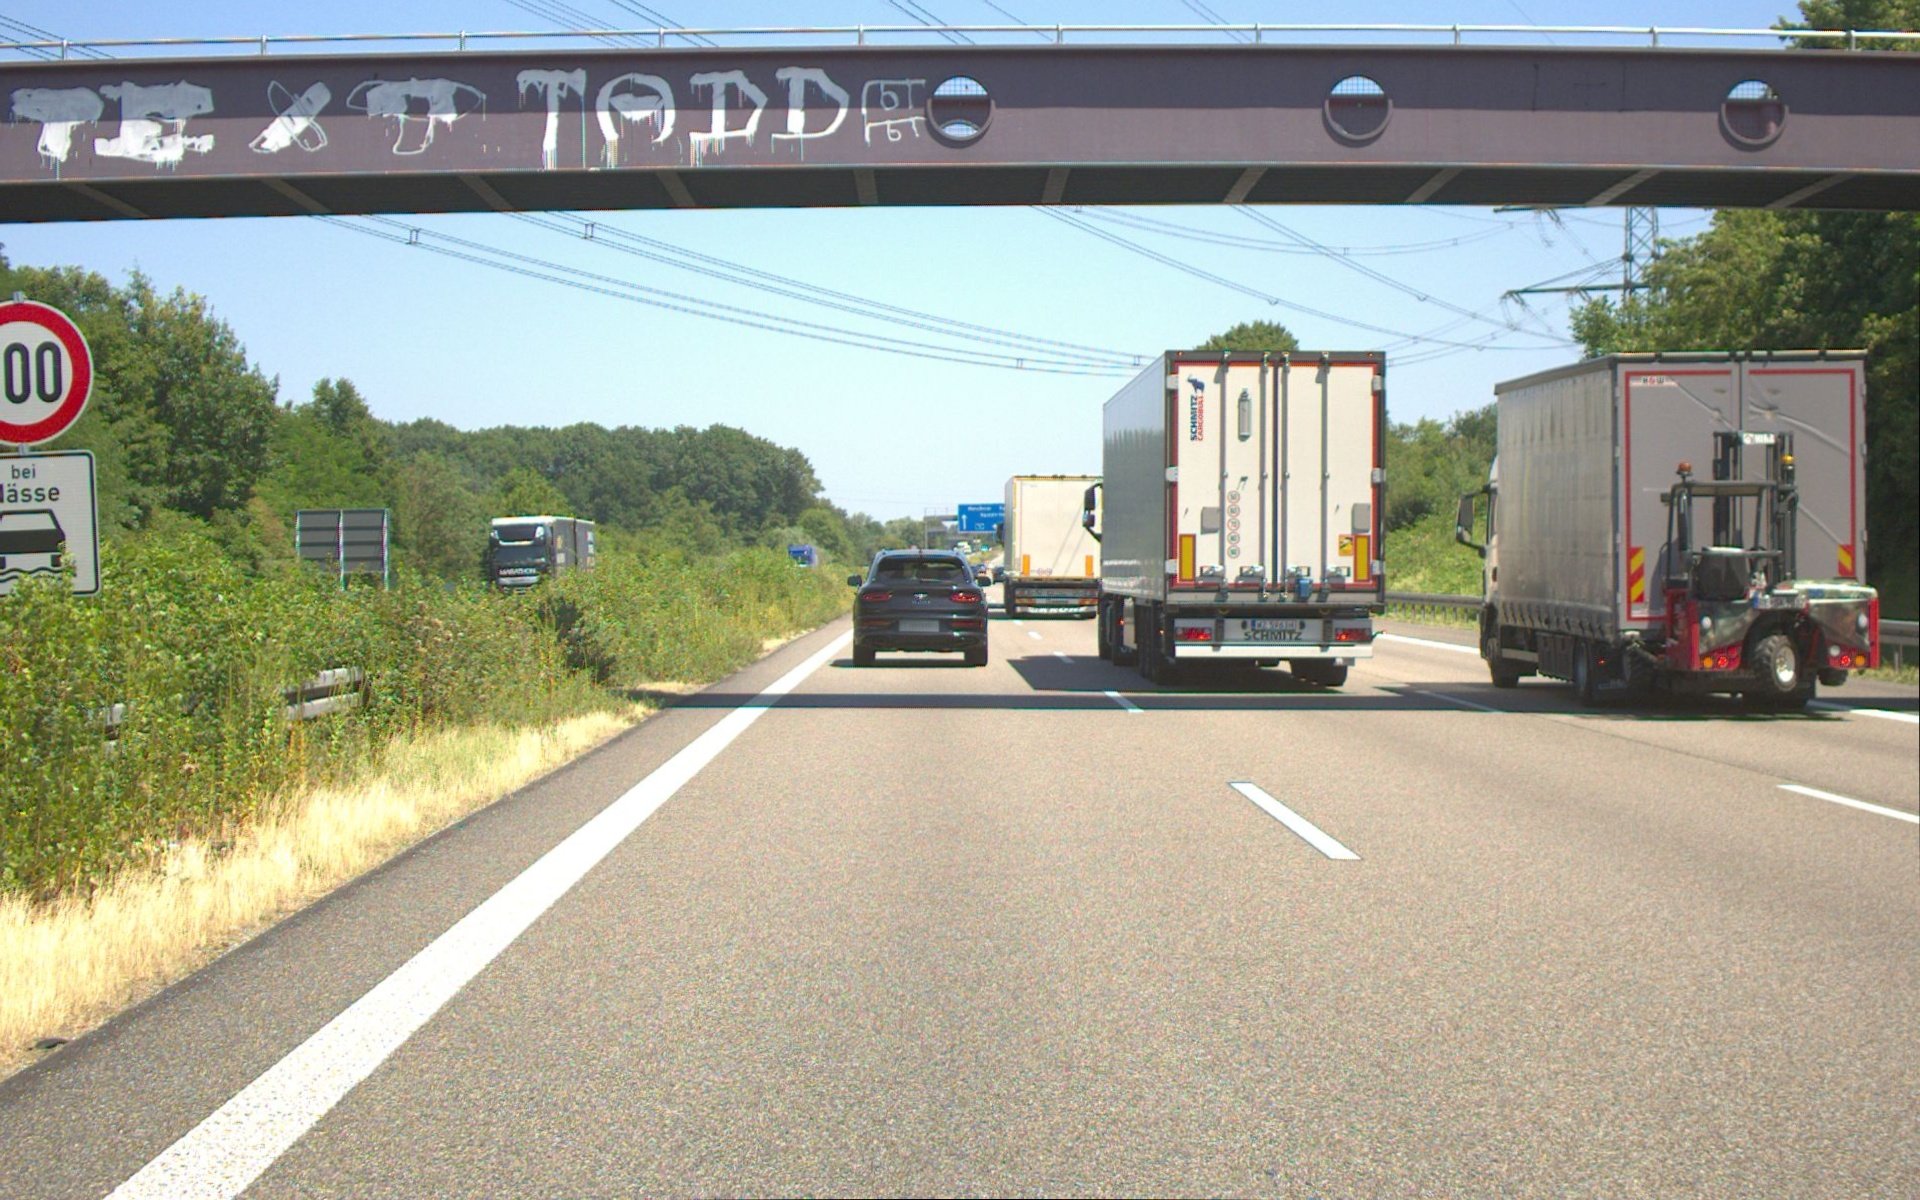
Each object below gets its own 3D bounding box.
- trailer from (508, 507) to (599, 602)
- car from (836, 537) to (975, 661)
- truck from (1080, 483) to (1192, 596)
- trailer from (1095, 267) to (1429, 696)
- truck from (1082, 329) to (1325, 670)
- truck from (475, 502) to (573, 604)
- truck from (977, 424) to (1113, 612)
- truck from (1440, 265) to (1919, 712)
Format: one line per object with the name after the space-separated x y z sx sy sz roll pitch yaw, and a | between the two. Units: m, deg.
-18.336 -2.028 155.672 2.766 4.082 10.298 -2 0 0 | trailer
-0.853 -0.046 51.571 1.993 1.766 4.000 -1 1 -2 | car
7.270 -2.518 144.225 3.511 4.477 13.252 1 1 -2 | truck
3.716 -1.419 45.666 3.087 4.868 12.258 1 0 -1 | trailer
3.640 -1.482 52.982 3.087 4.868 6.598 1 0 -1 | truck
-18.362 -1.958 145.372 2.758 4.107 10.216 -1 0 0 | truck
2.366 -2.349 100.083 3.512 5.149 10.259 1 1 -1 | truck
8.154 -1.112 38.867 3.571 4.230 11.652 1 0 -1 | truck
